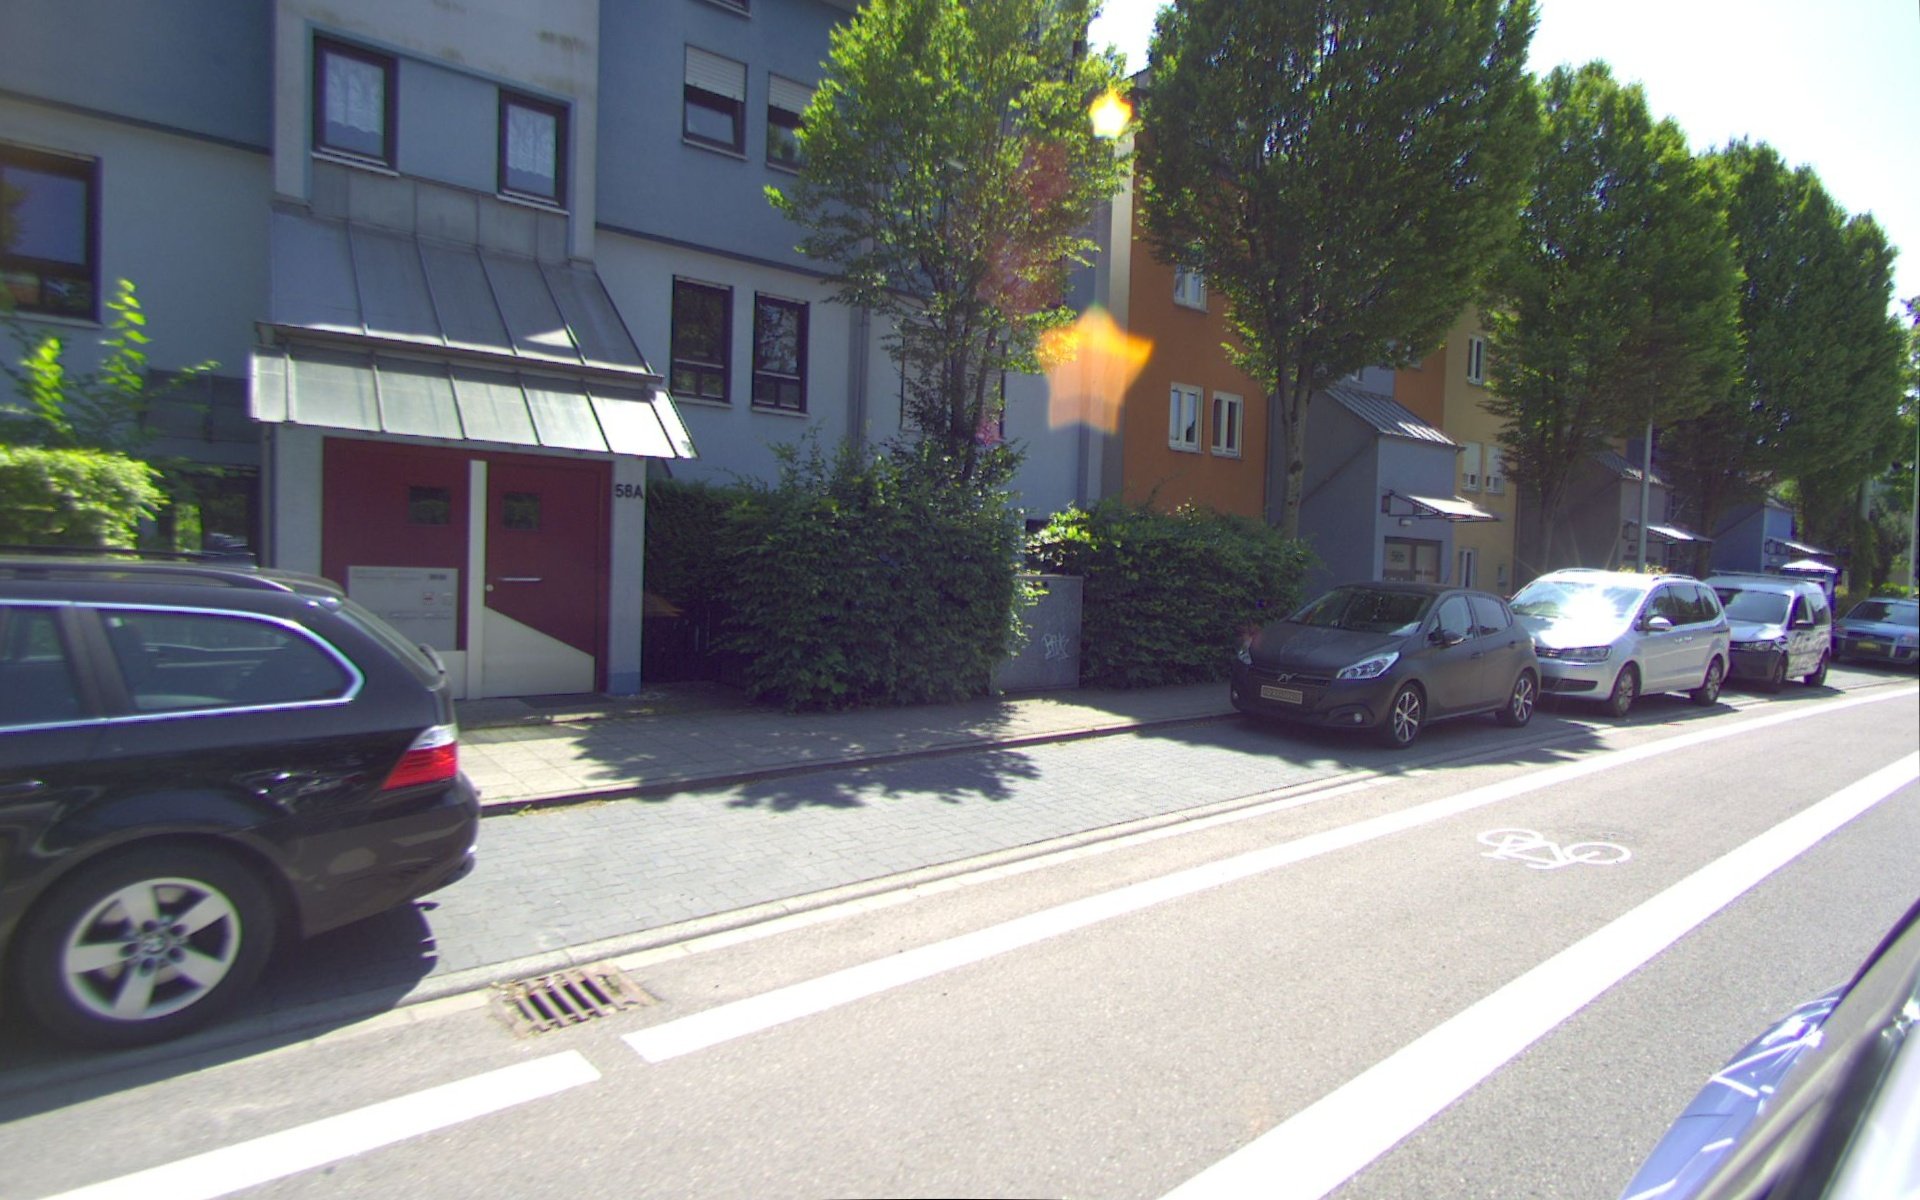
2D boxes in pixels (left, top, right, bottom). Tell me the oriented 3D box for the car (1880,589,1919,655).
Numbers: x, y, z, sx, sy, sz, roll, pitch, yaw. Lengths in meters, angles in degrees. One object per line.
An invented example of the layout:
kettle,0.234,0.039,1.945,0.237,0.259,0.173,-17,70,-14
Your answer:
car,25.349,0.600,25.900,4.876,1.547,1.846,0,5,-39

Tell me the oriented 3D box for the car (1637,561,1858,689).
car,13.440,0.354,17.192,4.273,1.815,1.847,0,5,-38

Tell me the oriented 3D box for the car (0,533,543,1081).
car,-4.036,0.561,2.903,4.949,1.510,1.711,0,5,-41

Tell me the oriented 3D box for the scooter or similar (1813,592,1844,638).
scooter or similar,25.230,0.419,29.389,1.314,1.296,0.385,0,1,-37

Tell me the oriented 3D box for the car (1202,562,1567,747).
car,4.421,0.435,10.276,4.104,1.440,1.588,0,5,-39

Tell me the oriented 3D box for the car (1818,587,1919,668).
car,21.452,0.596,23.016,4.135,1.547,1.848,1,5,-35

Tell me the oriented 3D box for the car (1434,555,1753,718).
car,8.456,0.398,13.364,4.688,1.714,1.848,1,5,-36
